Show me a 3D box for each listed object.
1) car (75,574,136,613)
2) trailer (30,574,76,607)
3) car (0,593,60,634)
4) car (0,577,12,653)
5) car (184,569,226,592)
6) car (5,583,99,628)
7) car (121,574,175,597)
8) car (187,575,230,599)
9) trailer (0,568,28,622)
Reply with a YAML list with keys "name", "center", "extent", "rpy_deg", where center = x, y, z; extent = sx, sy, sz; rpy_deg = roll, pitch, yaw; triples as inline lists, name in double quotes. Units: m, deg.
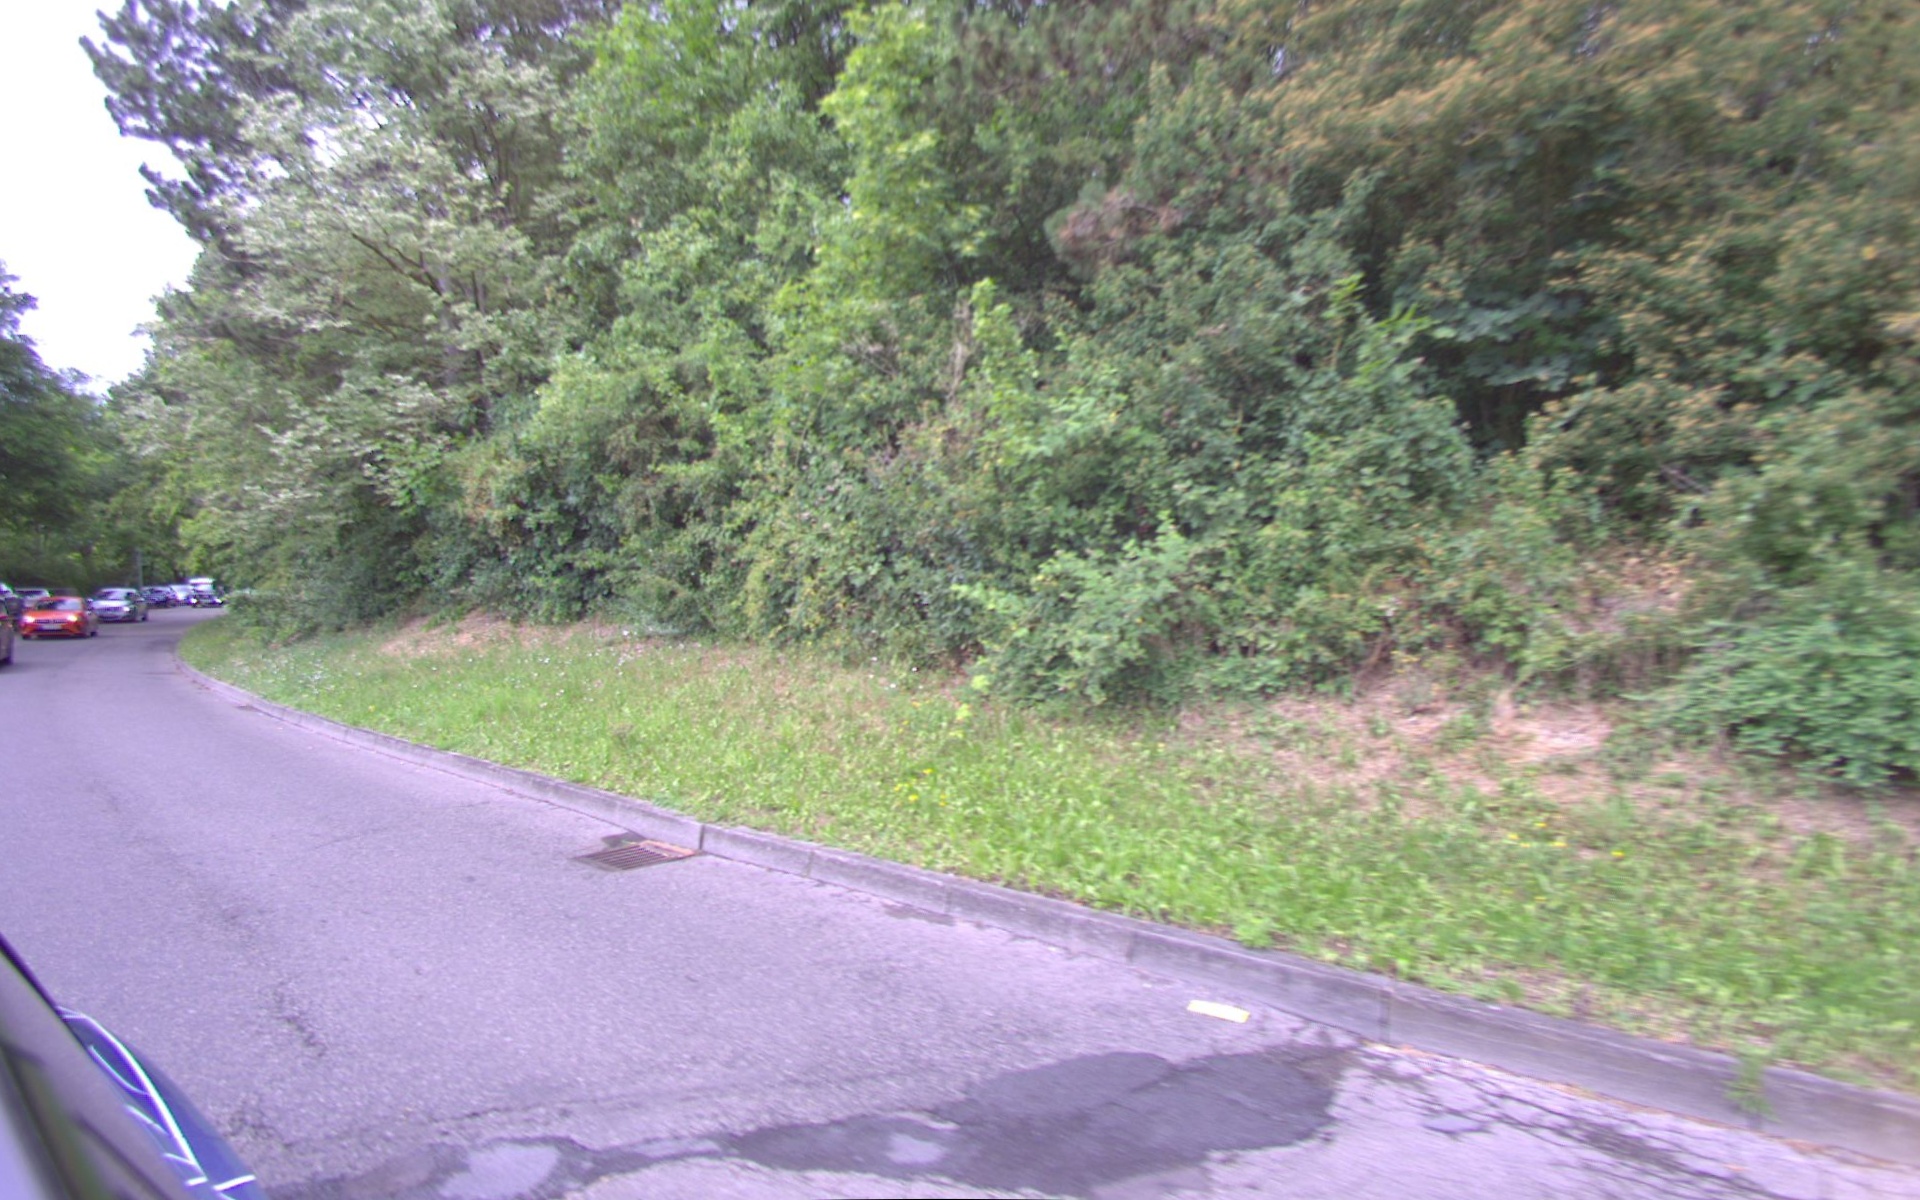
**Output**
- name: "car"
  center: [-40.330, -0.336, 47.828]
  extent: [1.892, 1.694, 4.010]
  rpy_deg: [2, 0, -36]
- name: "trailer"
  center: [-45.006, -0.483, 50.259]
  extent: [1.355, 1.616, 2.273]
  rpy_deg: [-1, 1, -33]
- name: "car"
  center: [-41.193, 0.567, 44.481]
  extent: [1.815, 1.697, 4.613]
  rpy_deg: [0, 0, -33]
- name: "car"
  center: [-21.636, 0.325, 21.405]
  extent: [1.968, 1.640, 4.634]
  rpy_deg: [-1, 1, -39]
- name: "car"
  center: [-58.307, -1.524, 78.206]
  extent: [1.836, 1.739, 4.190]
  rpy_deg: [-1, 1, -26]
- name: "car"
  center: [-31.419, 0.143, 35.145]
  extent: [1.837, 1.459, 4.187]
  rpy_deg: [-1, 1, -34]
- name: "car"
  center: [-52.680, -0.946, 65.750]
  extent: [1.836, 1.459, 4.190]
  rpy_deg: [-1, 1, -26]
- name: "car"
  center: [-50.391, -0.881, 67.923]
  extent: [1.739, 1.529, 4.013]
  rpy_deg: [-1, 2, -29]
- name: "trailer"
  center: [-38.221, -0.221, 39.333]
  extent: [1.966, 1.947, 5.911]
  rpy_deg: [0, 3, -33]
